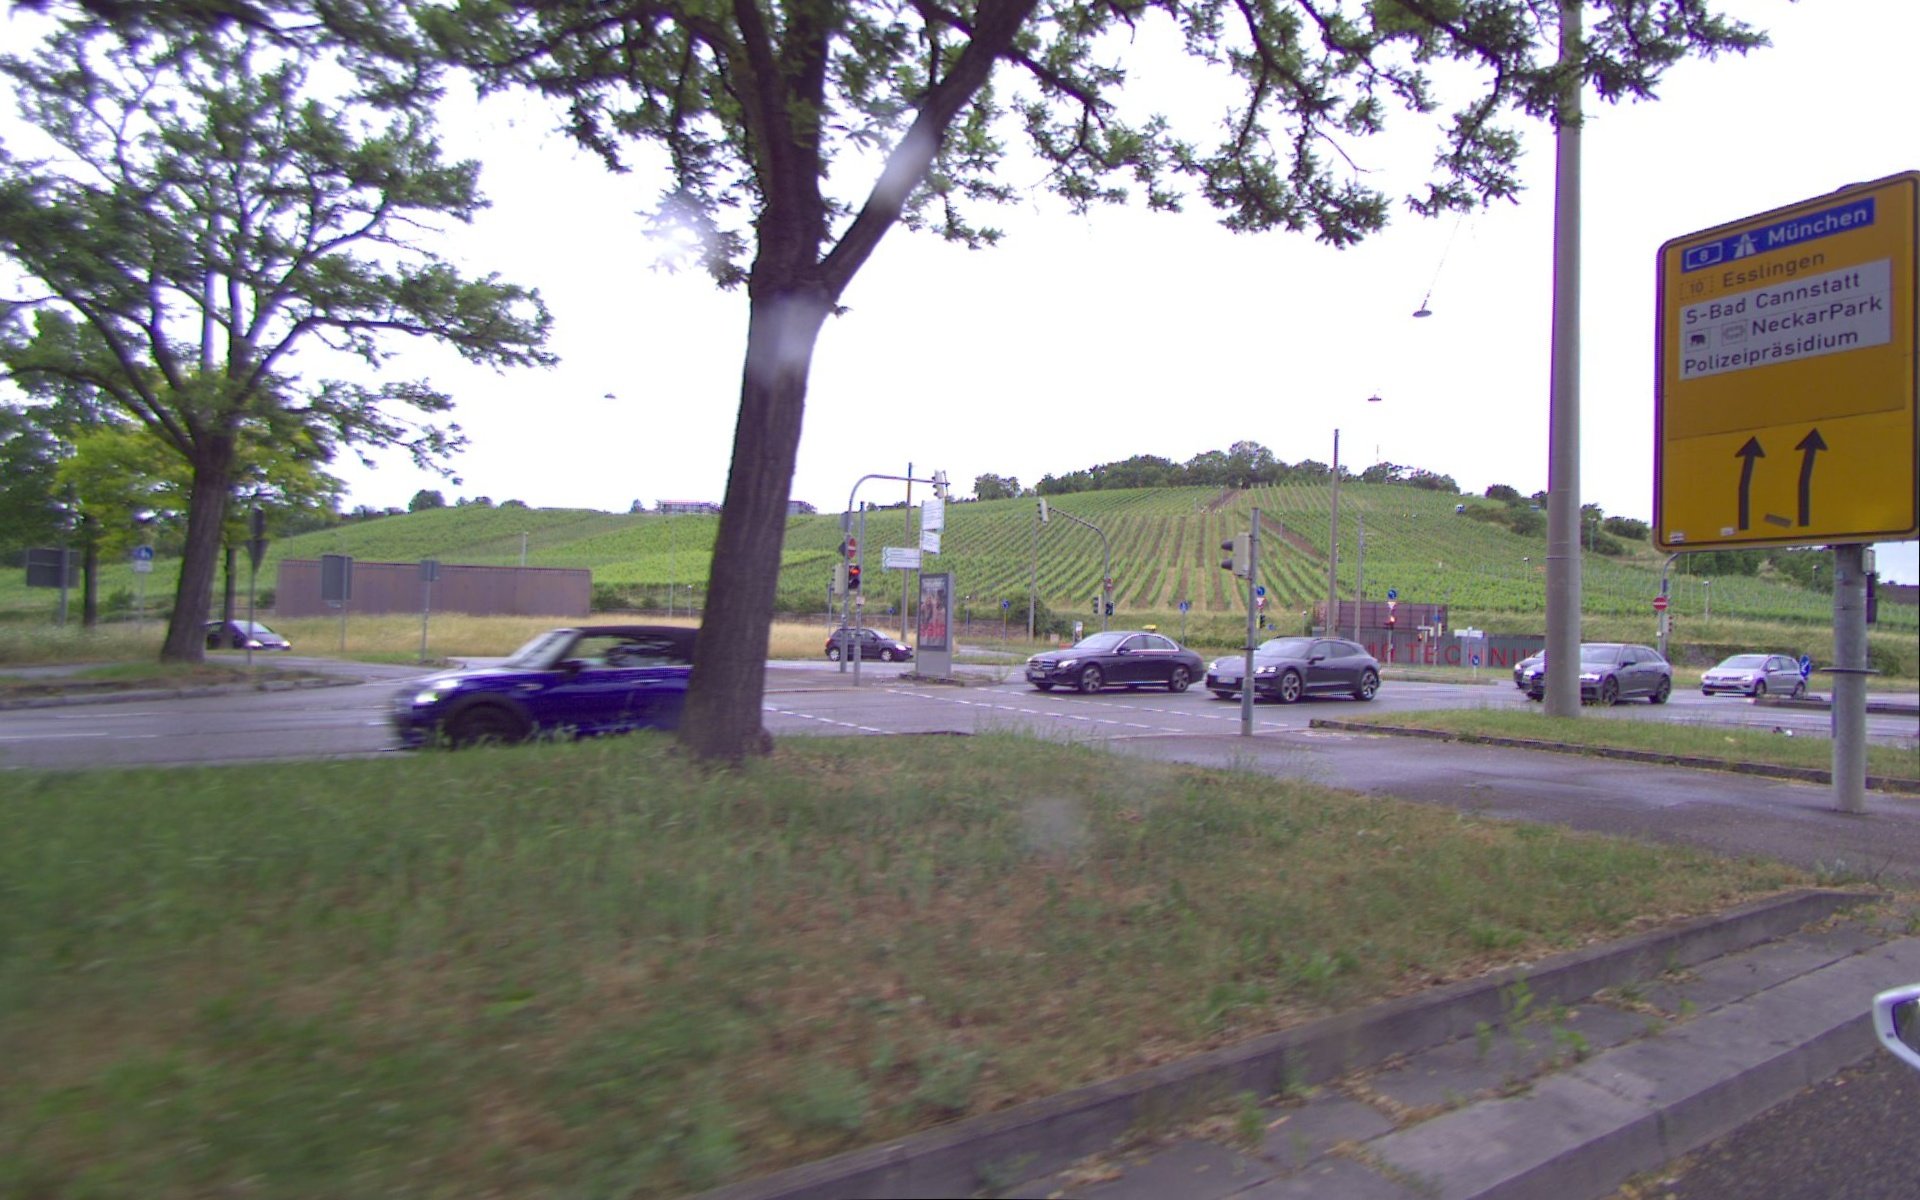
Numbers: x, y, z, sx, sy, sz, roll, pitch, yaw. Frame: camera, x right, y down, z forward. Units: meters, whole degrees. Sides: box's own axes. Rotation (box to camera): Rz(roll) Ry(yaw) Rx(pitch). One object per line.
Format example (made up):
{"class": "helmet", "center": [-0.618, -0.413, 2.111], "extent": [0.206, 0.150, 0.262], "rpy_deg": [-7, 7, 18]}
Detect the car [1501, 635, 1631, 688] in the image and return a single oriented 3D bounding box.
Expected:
{"class": "car", "center": [18.992, 1.896, 31.432], "extent": [4.622, 1.492, 1.812], "rpy_deg": [2, -1, -35]}

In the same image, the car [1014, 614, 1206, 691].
{"class": "car", "center": [3.658, 1.238, 24.158], "extent": [4.519, 1.645, 1.818], "rpy_deg": [2, -1, -34]}

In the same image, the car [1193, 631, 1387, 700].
{"class": "car", "center": [7.575, 1.452, 22.868], "extent": [4.622, 1.381, 1.812], "rpy_deg": [2, -1, -35]}

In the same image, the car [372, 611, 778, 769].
{"class": "car", "center": [-4.166, 0.908, 11.097], "extent": [3.845, 1.414, 1.774], "rpy_deg": [3, -1, -36]}

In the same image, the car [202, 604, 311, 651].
{"class": "car", "center": [-29.062, 1.120, 41.490], "extent": [3.925, 1.684, 1.998], "rpy_deg": [3, 0, 26]}

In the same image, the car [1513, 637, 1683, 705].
{"class": "car", "center": [16.073, 1.724, 25.236], "extent": [4.843, 1.509, 1.889], "rpy_deg": [2, -1, -35]}

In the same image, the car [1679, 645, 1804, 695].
{"class": "car", "center": [28.372, 2.539, 36.460], "extent": [4.142, 1.596, 1.986], "rpy_deg": [3, 0, -27]}

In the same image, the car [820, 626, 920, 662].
{"class": "car", "center": [-3.893, 1.890, 43.749], "extent": [3.919, 1.306, 1.800], "rpy_deg": [3, 0, 15]}
